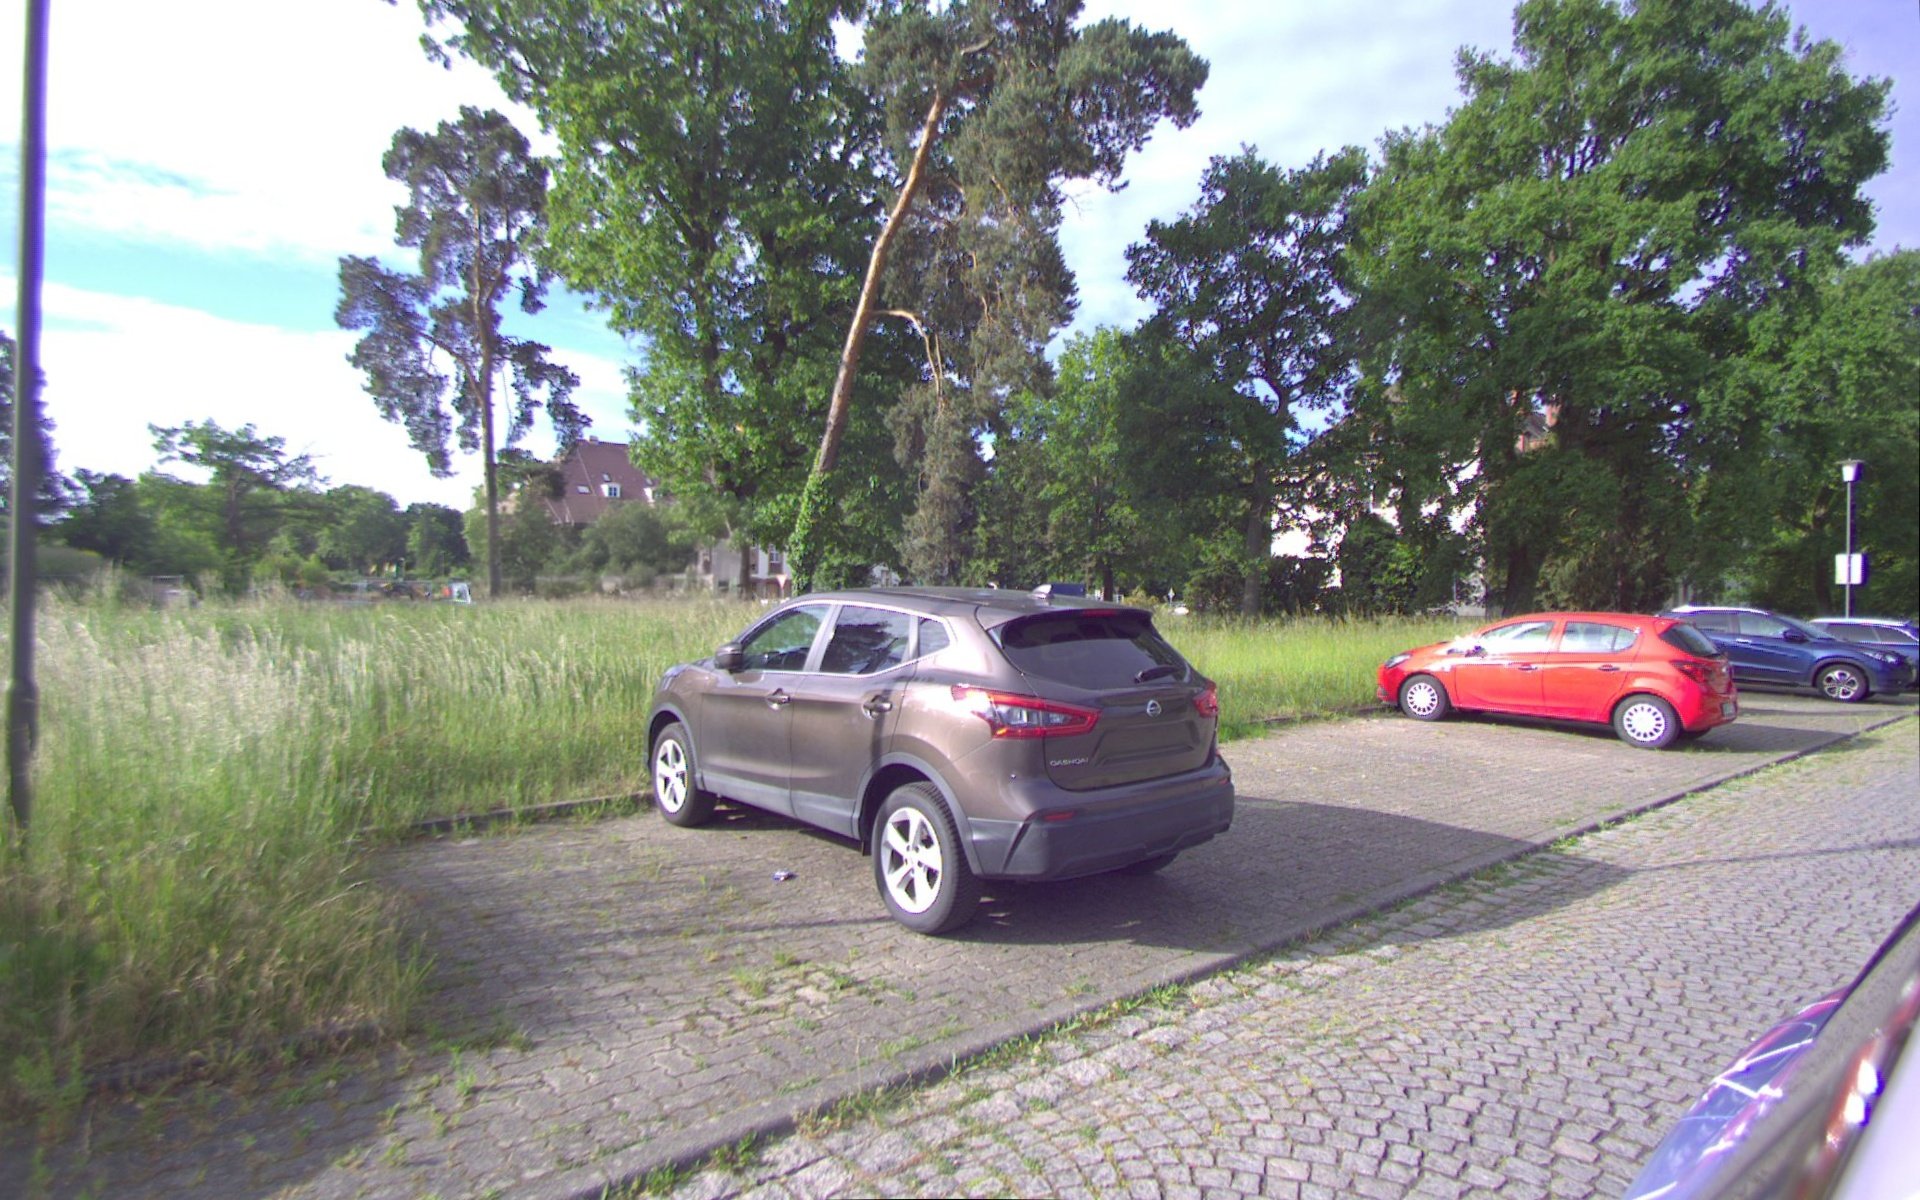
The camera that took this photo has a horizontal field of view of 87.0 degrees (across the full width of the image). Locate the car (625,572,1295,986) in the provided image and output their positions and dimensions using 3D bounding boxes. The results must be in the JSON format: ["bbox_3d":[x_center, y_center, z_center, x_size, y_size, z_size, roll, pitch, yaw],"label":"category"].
[{"bbox_3d":[-0.338,0.658,6.187,1.844,1.608,4.200,0,1,-40],"label":"car"}]

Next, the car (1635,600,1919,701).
[{"bbox_3d":[15.300,0.838,18.934,1.715,1.588,4.135,0,1,-39],"label":"car"}]

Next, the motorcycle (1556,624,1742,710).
[{"bbox_3d":[10.646,0.993,15.736,0.595,1.127,2.308,0,1,-37],"label":"motorcycle"}]

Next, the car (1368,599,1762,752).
[{"bbox_3d":[7.383,0.791,12.664,1.657,1.491,3.886,0,2,-40],"label":"car"}]

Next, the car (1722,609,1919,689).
[{"bbox_3d":[19.038,0.996,21.640,1.750,1.469,4.038,0,1,-37],"label":"car"}]
